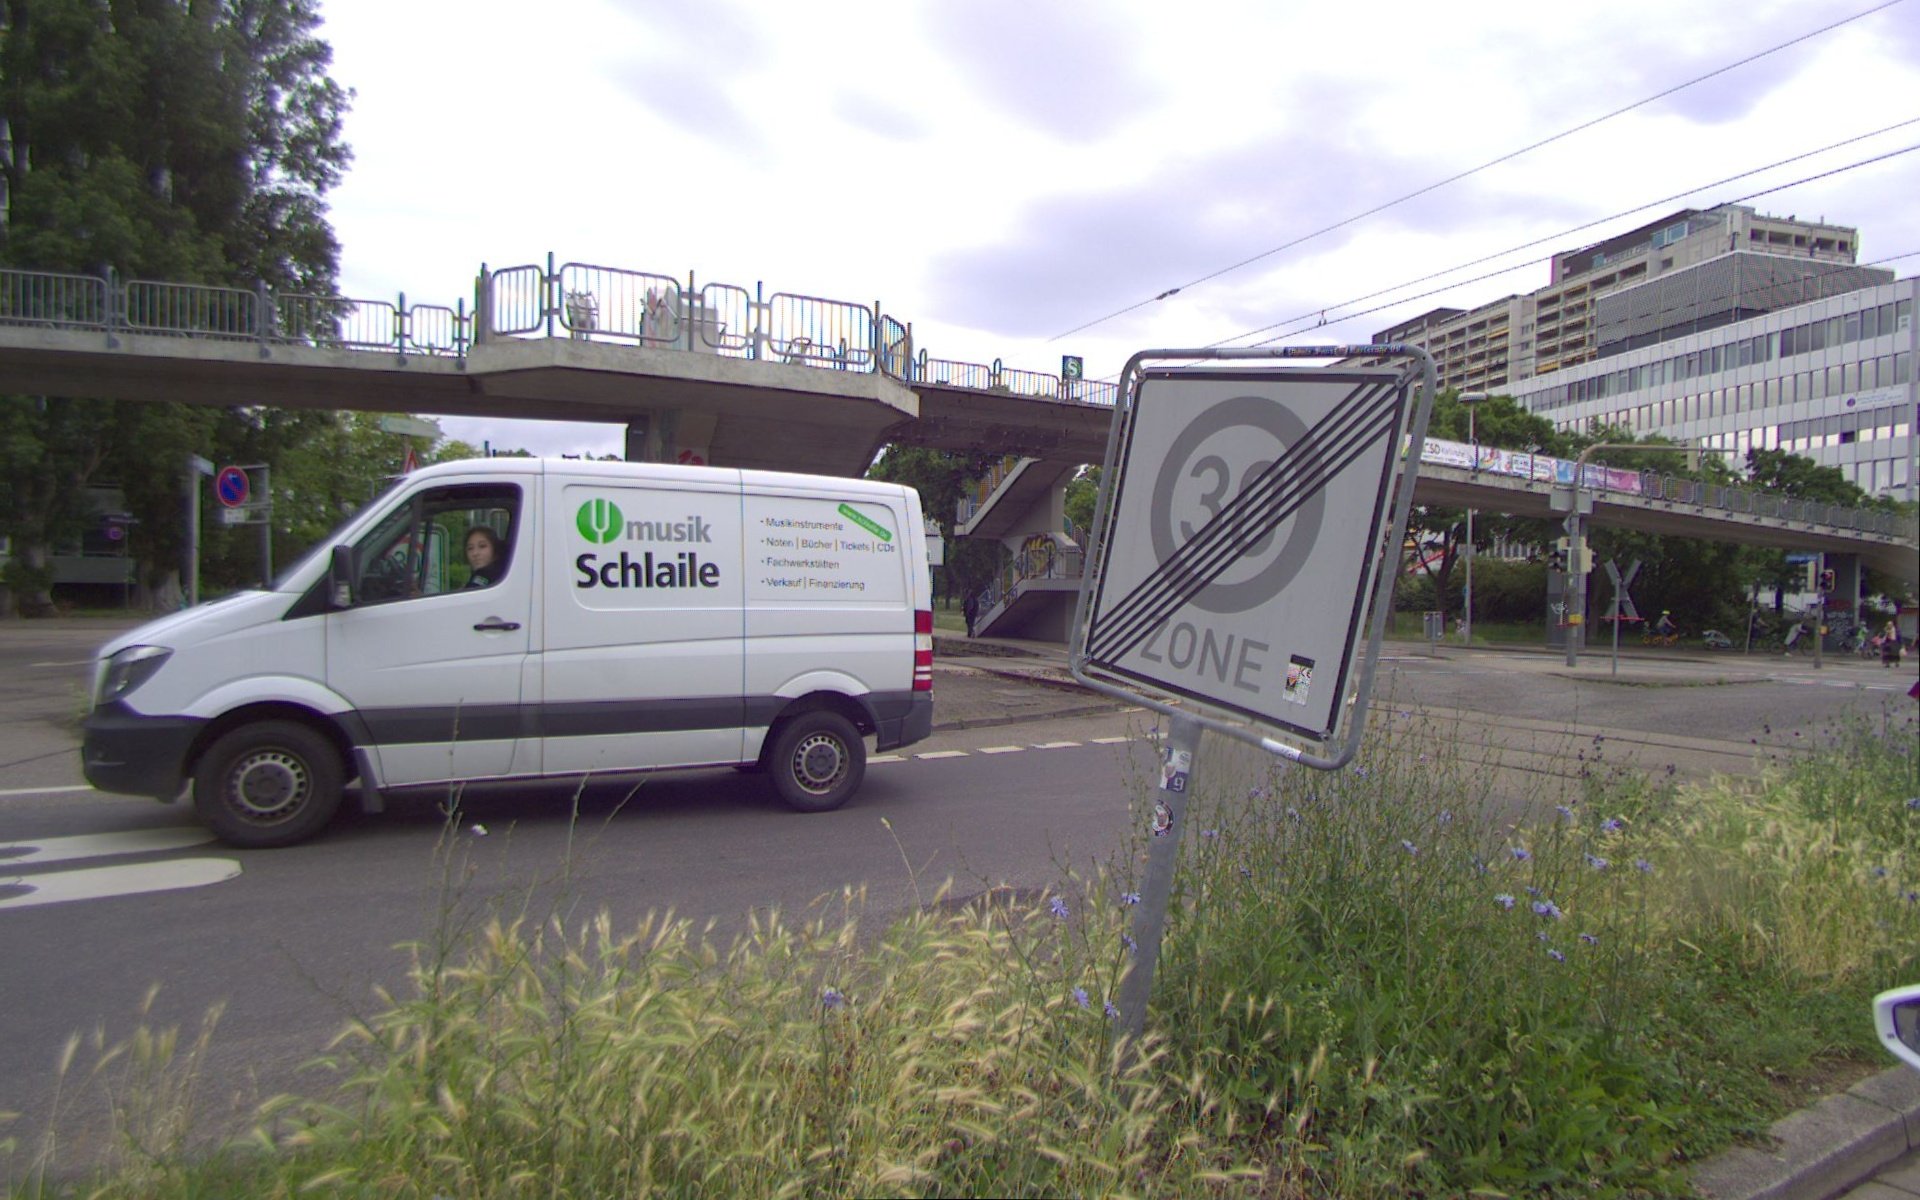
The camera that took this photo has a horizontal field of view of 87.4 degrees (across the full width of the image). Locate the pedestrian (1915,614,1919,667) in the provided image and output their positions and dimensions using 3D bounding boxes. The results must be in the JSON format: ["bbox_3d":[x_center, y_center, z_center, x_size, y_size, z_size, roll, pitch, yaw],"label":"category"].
[{"bbox_3d":[33.381,1.408,34.567,0.795,1.828,0.632,1,1,-39],"label":"pedestrian"}]

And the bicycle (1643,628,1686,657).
[{"bbox_3d":[34.543,2.070,49.249,1.682,1.321,0.387,1,1,37],"label":"bicycle"}]

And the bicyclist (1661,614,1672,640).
[{"bbox_3d":[34.630,1.305,49.213,0.400,1.270,0.276,1,1,36],"label":"bicyclist"}]

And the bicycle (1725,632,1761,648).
[{"bbox_3d":[37.396,1.894,47.982,1.273,0.701,0.290,1,1,25],"label":"bicycle"}]

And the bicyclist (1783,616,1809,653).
[{"bbox_3d":[37.912,1.559,45.551,0.735,1.647,0.528,1,1,17],"label":"bicyclist"}]

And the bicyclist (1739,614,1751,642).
[{"bbox_3d":[37.480,1.357,47.949,0.376,1.321,0.278,1,1,24],"label":"bicyclist"}]

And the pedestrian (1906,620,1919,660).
[{"bbox_3d":[38.937,1.618,40.864,0.572,1.600,0.777,2,0,42],"label":"pedestrian"}]

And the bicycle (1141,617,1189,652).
[{"bbox_3d":[5.829,0.970,28.683,0.368,0.934,2.029,1,0,-18],"label":"bicycle"}]

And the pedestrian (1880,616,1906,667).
[{"bbox_3d":[32.410,1.435,34.893,0.402,1.714,0.612,1,1,-43],"label":"pedestrian"}]

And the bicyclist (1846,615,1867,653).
[{"bbox_3d":[40.691,1.539,45.593,0.525,1.666,0.562,2,0,-29],"label":"bicyclist"}]

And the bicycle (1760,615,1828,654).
[{"bbox_3d":[37.807,1.557,45.552,2.318,1.647,0.528,1,1,17],"label":"bicycle"}]

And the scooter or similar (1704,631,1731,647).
[{"bbox_3d":[36.443,1.884,48.343,0.978,0.724,0.406,1,0,26],"label":"scooter or similar"}]

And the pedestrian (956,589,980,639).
[{"bbox_3d":[0.273,0.482,34.160,0.593,1.664,0.659,1,1,-25],"label":"pedestrian"}]

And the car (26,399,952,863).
[{"bbox_3d":[-2.828,0.199,7.150,5.140,2.323,2.126,1,0,-27],"label":"car"}]

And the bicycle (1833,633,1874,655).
[{"bbox_3d":[40.620,1.994,45.657,2.493,0.938,0.628,1,1,-31],"label":"bicycle"}]
